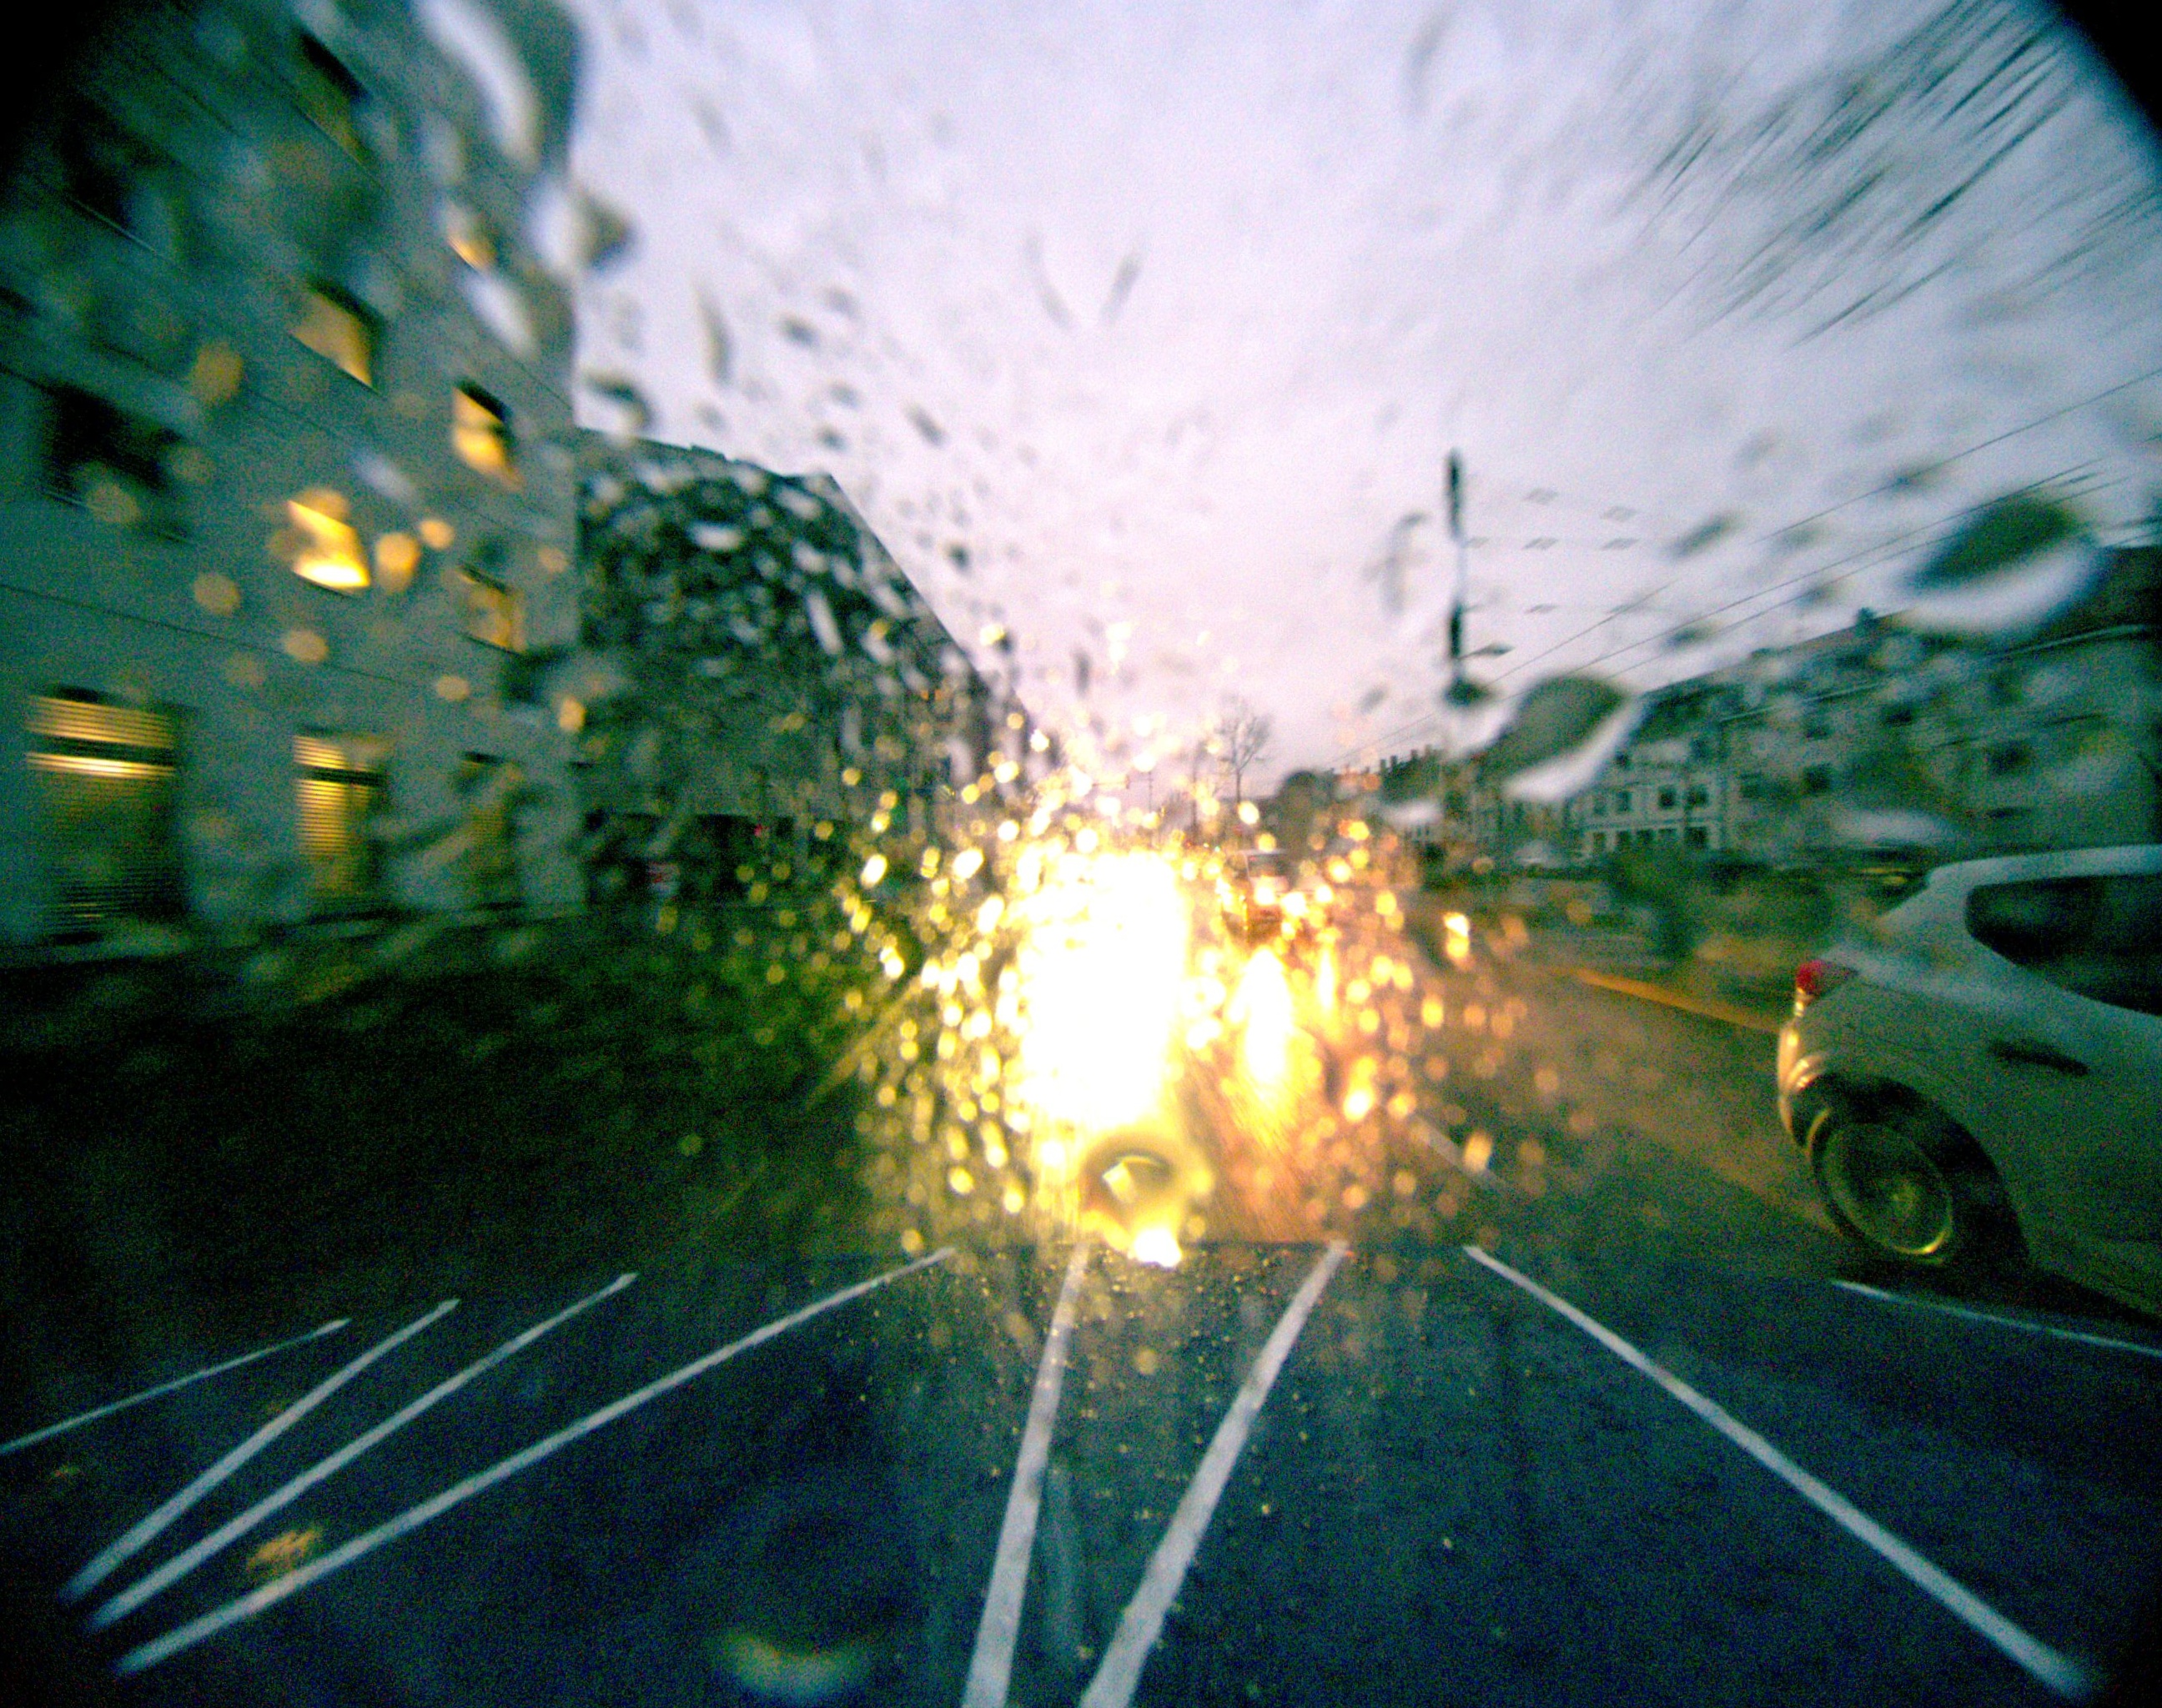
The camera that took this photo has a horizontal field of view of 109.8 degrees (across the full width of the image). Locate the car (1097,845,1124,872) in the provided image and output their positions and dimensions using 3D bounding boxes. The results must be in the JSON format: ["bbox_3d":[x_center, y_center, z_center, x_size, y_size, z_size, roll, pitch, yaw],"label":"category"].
[{"bbox_3d":[2.103,0.274,53.030,1.729,1.730,4.054,-2,1,3],"label":"car"}]

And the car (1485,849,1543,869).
[{"bbox_3d":[31.849,0.356,55.870,3.599,1.376,1.316,-1,0,34],"label":"car"}]

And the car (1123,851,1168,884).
[{"bbox_3d":[3.204,0.666,38.601,1.975,1.492,4.092,-2,0,2],"label":"car"}]

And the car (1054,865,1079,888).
[{"bbox_3d":[-1.149,1.851,62.413,1.609,1.666,3.686,-2,1,6],"label":"car"}]

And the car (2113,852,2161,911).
[{"bbox_3d":[27.113,0.692,17.423,1.519,1.360,4.000,-2,1,2],"label":"car"}]

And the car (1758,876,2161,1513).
[{"bbox_3d":[3.487,0.875,0.944,1.712,1.457,3.999,-2,1,0],"label":"car"}]

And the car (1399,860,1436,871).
[{"bbox_3d":[33.107,1.121,74.707,3.100,1.000,1.189,-1,0,36],"label":"car"}]

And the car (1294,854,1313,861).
[{"bbox_3d":[35.322,0.511,120.592,2.565,0.981,1.257,-2,1,32],"label":"car"}]

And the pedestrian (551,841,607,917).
[{"bbox_3d":[-11.756,0.577,17.802,0.739,1.726,0.703,-2,2,0],"label":"pedestrian"}]

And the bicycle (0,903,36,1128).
[{"bbox_3d":[-5.702,0.829,2.826,0.552,1.109,2.166,0,1,2],"label":"bicycle"}]

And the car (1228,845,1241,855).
[{"bbox_3d":[31.892,-0.801,158.004,1.998,2.002,3.999,-2,1,0],"label":"car"}]

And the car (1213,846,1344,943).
[{"bbox_3d":[3.939,0.725,15.846,2.020,1.667,4.001,-2,1,6],"label":"car"}]

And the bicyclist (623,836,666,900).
[{"bbox_3d":[-12.786,0.419,22.265,0.730,1.811,0.842,-2,-2,25],"label":"bicyclist"}]

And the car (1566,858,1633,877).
[{"bbox_3d":[31.262,0.792,45.849,3.305,1.125,1.316,0,0,36],"label":"car"}]

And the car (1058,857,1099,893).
[{"bbox_3d":[-0.078,0.991,36.992,1.763,1.520,3.734,-2,1,3],"label":"car"}]

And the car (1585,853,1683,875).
[{"bbox_3d":[31.048,0.572,42.777,4.393,1.125,1.250,0,2,36],"label":"car"}]

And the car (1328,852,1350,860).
[{"bbox_3d":[36.403,0.288,107.289,2.626,1.100,1.255,-2,1,5],"label":"car"}]

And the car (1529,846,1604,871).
[{"bbox_3d":[31.450,0.306,49.262,4.002,1.496,1.316,-1,2,38],"label":"car"}]

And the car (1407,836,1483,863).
[{"bbox_3d":[32.863,-0.397,68.679,5.893,2.242,1.825,-1,2,36],"label":"car"}]

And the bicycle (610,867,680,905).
[{"bbox_3d":[-12.768,0.935,22.238,1.863,1.084,0.856,-2,-2,26],"label":"bicycle"}]

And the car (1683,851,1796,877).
[{"bbox_3d":[31.174,0.490,36.126,3.989,1.125,1.364,-1,1,38],"label":"car"}]

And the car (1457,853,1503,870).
[{"bbox_3d":[32.538,0.617,61.962,3.100,1.376,1.316,-1,0,36],"label":"car"}]

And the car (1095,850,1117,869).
[{"bbox_3d":[1.996,0.400,60.843,1.595,1.428,3.804,-2,0,2],"label":"car"}]

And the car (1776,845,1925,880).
[{"bbox_3d":[30.508,0.356,30.284,3.989,1.248,1.447,-2,1,36],"label":"car"}]

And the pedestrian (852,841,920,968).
[{"bbox_3d":[-2.901,0.729,11.368,0.773,1.798,0.699,3,2,-1],"label":"pedestrian"}]

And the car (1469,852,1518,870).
[{"bbox_3d":[32.071,0.553,59.068,3.198,1.376,1.316,-1,0,34],"label":"car"}]

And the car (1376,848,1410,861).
[{"bbox_3d":[33.624,0.090,81.936,3.197,1.309,1.554,-2,1,33],"label":"car"}]

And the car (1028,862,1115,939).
[{"bbox_3d":[-0.147,0.981,17.618,1.757,1.418,3.804,-2,1,2],"label":"car"}]

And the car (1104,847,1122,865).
[{"bbox_3d":[3.215,0.191,76.144,1.729,1.646,3.643,-2,1,2],"label":"car"}]
